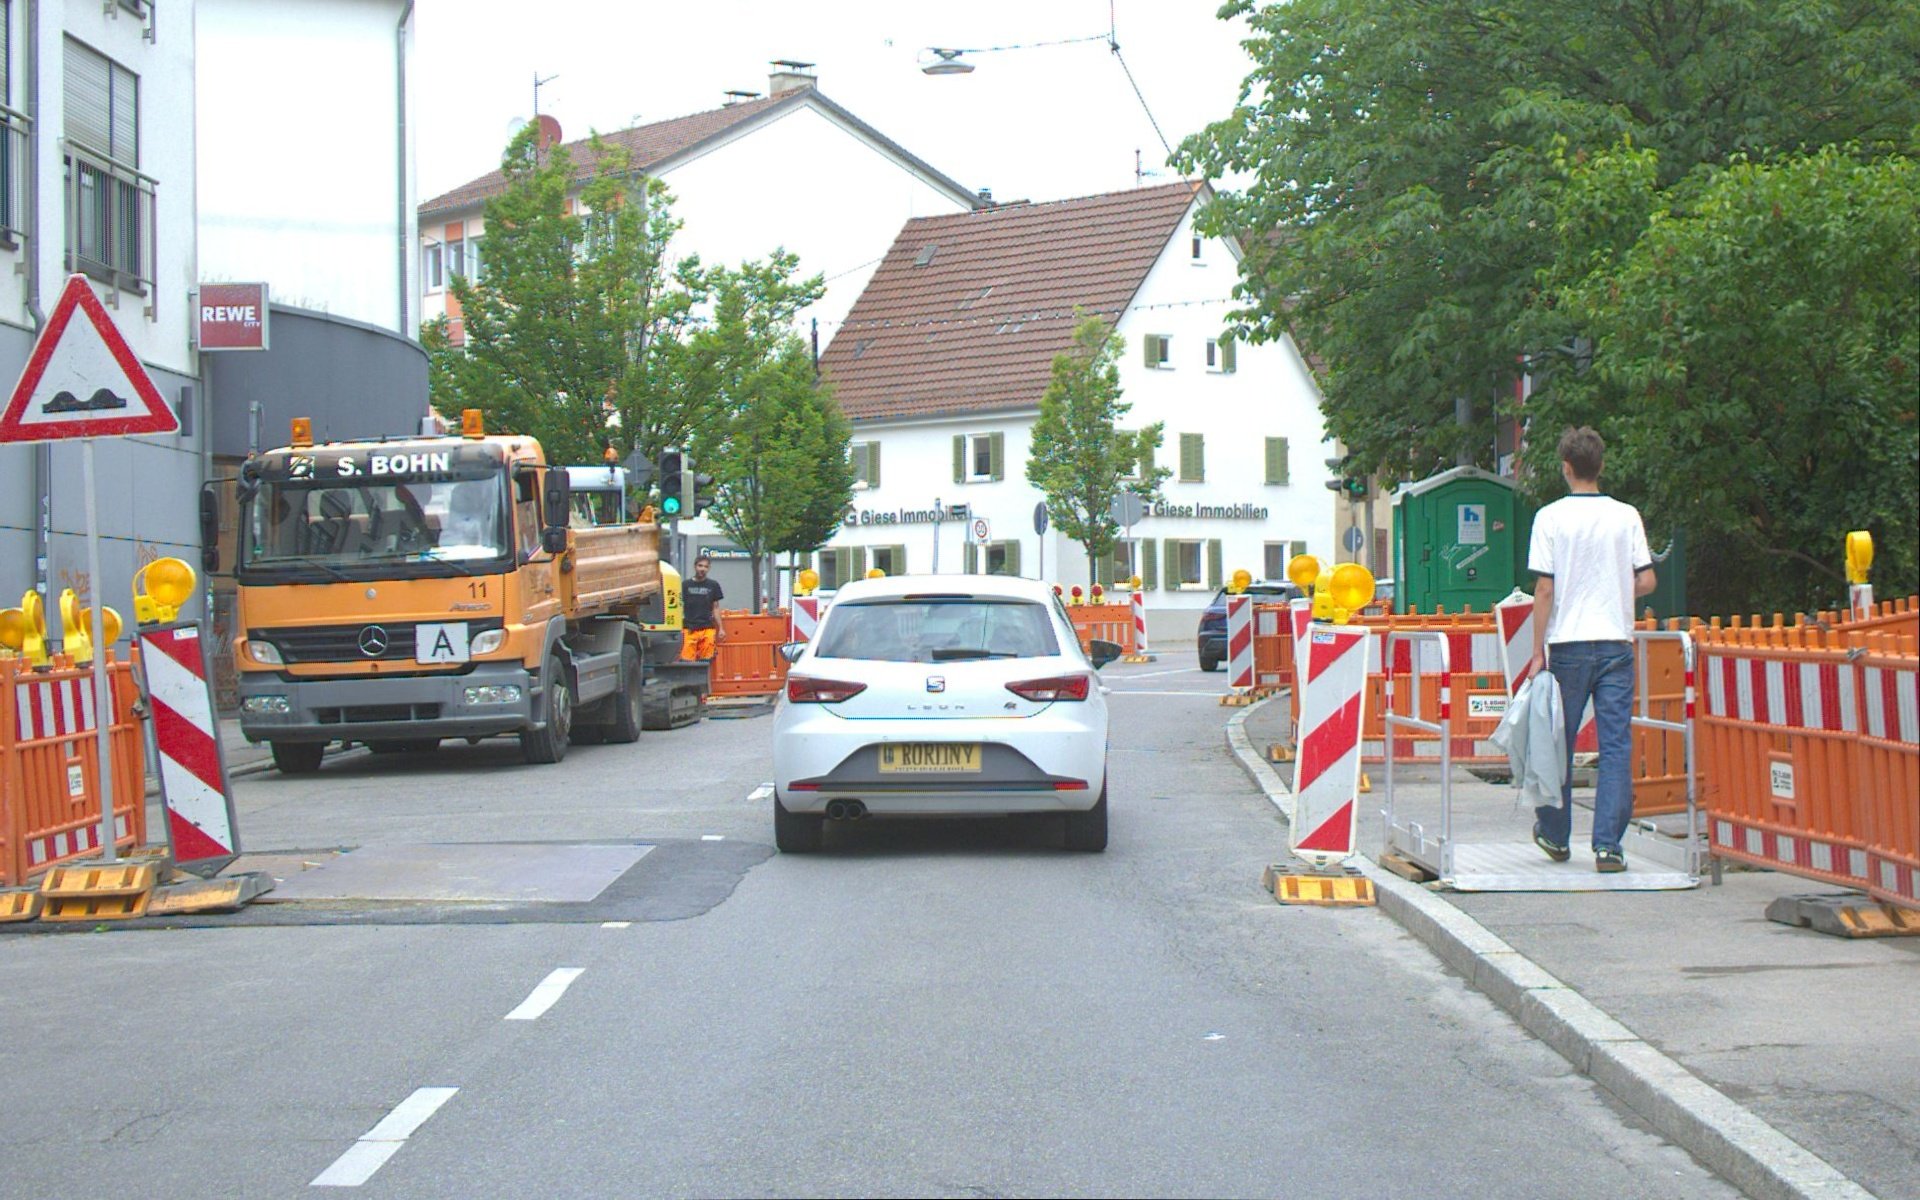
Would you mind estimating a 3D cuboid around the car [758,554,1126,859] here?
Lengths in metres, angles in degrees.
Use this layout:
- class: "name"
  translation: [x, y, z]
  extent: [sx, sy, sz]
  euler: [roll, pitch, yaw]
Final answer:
- class: "car"
  translation: [-0.053, 0.504, 18.984]
  extent: [1.811, 1.475, 3.870]
  euler: [1, 1, 1]

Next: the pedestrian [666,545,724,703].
- class: "pedestrian"
  translation: [-2.955, 0.266, 38.353]
  extent: [0.537, 1.738, 0.443]
  euler: [-1, 0, 9]

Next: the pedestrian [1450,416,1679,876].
- class: "pedestrian"
  translation: [2.639, 0.191, 15.089]
  extent: [0.798, 1.943, 0.836]
  euler: [-2, 1, -1]

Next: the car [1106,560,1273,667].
- class: "car"
  translation: [3.492, 0.179, 51.755]
  extent: [1.812, 1.475, 3.868]
  euler: [-1, 1, 14]

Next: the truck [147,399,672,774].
- class: "truck"
  translation: [-4.353, -0.147, 28.754]
  extent: [2.732, 2.715, 6.847]
  euler: [-1, 1, 5]

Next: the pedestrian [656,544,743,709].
- class: "pedestrian"
  translation: [-2.901, 0.292, 38.362]
  extent: [0.814, 1.809, 0.743]
  euler: [-1, 0, 8]

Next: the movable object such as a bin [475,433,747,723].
- class: "movable object such as a bin"
  translation: [-3.497, -0.188, 35.264]
  extent: [1.839, 2.754, 4.504]
  euler: [-1, -1, 6]
